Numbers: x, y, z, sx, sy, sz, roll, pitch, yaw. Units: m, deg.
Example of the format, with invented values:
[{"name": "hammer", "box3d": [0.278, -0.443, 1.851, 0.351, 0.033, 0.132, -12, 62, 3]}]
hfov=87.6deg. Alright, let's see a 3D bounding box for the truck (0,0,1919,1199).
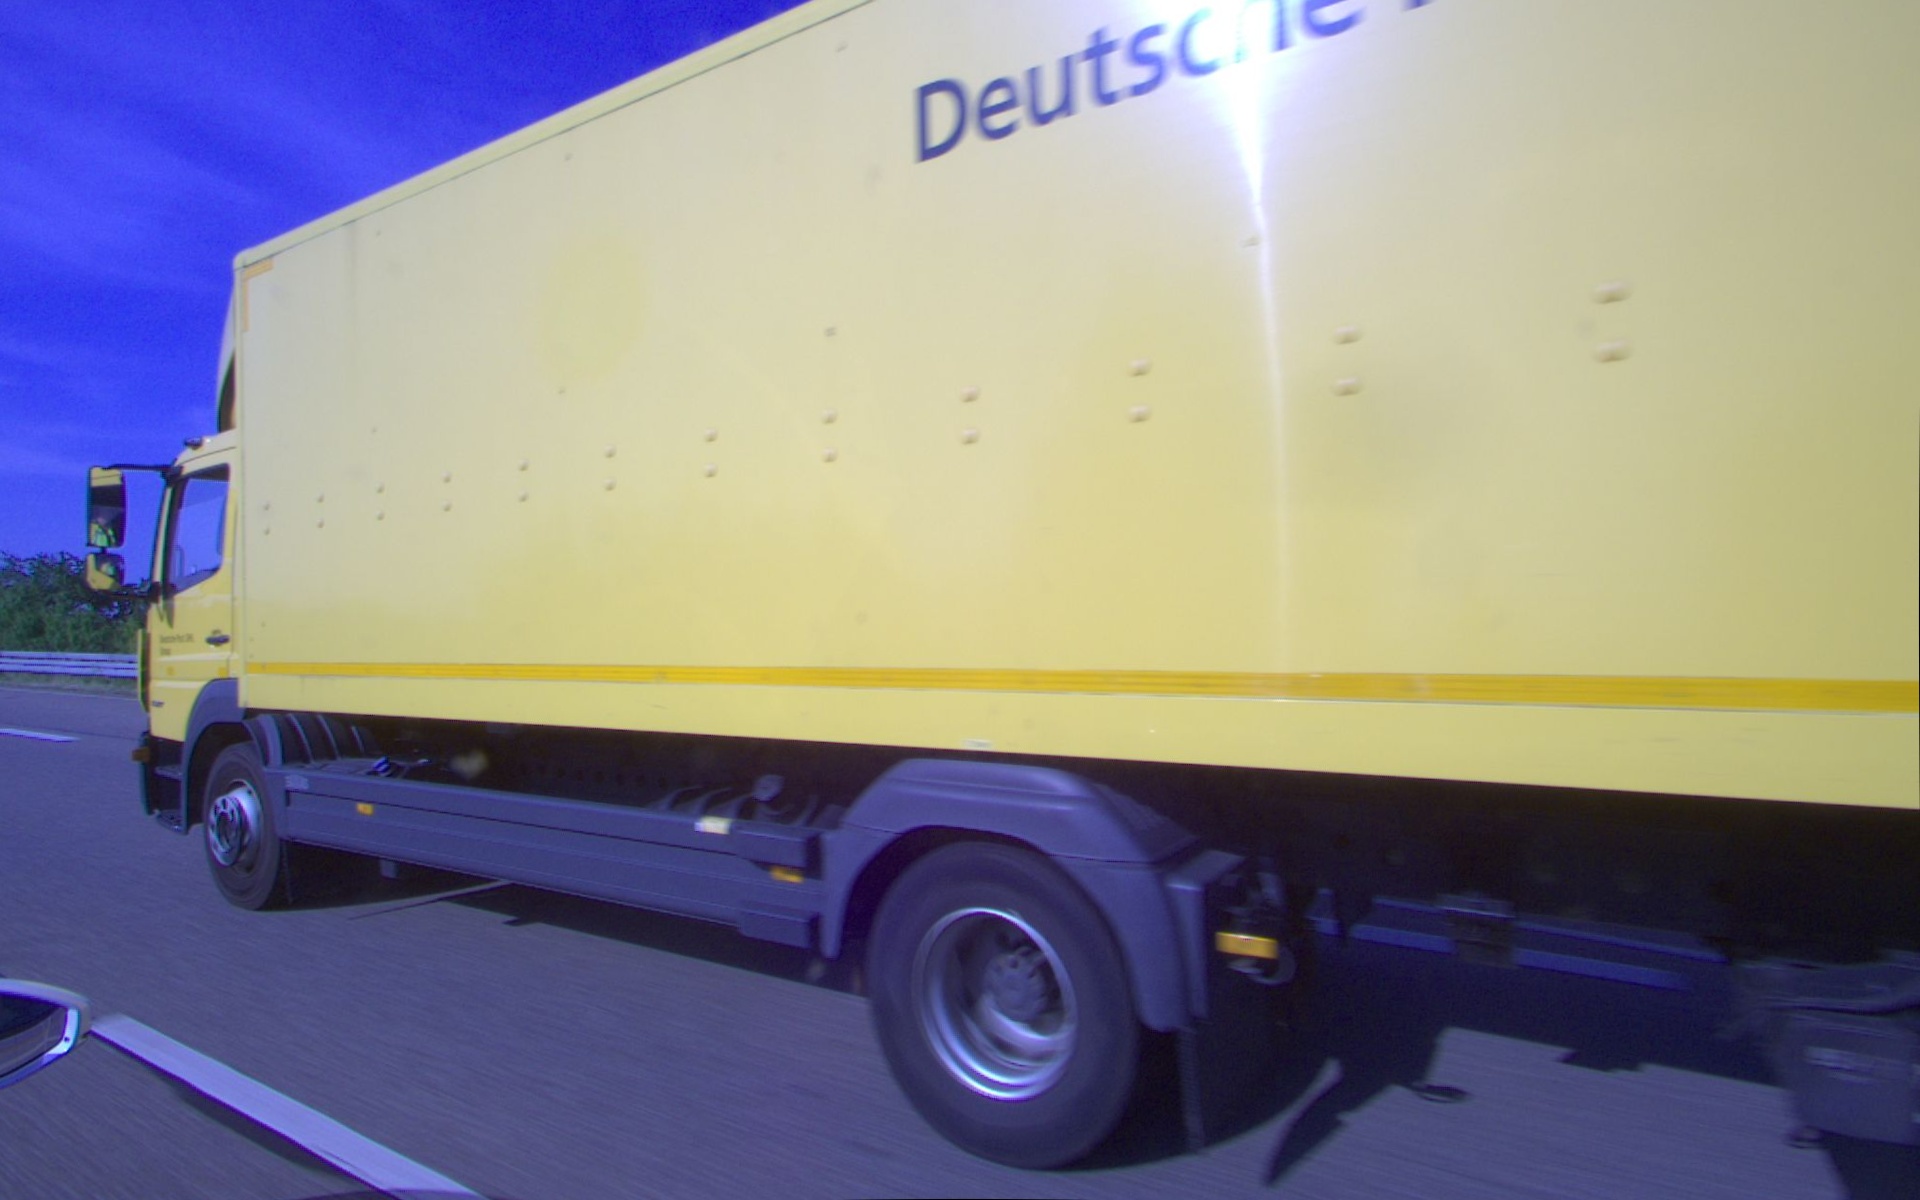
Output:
[{"name": "truck", "box3d": [-1.629, -0.139, 5.268, 10.337, 3.359, 2.774, 0, -1, 32]}]
